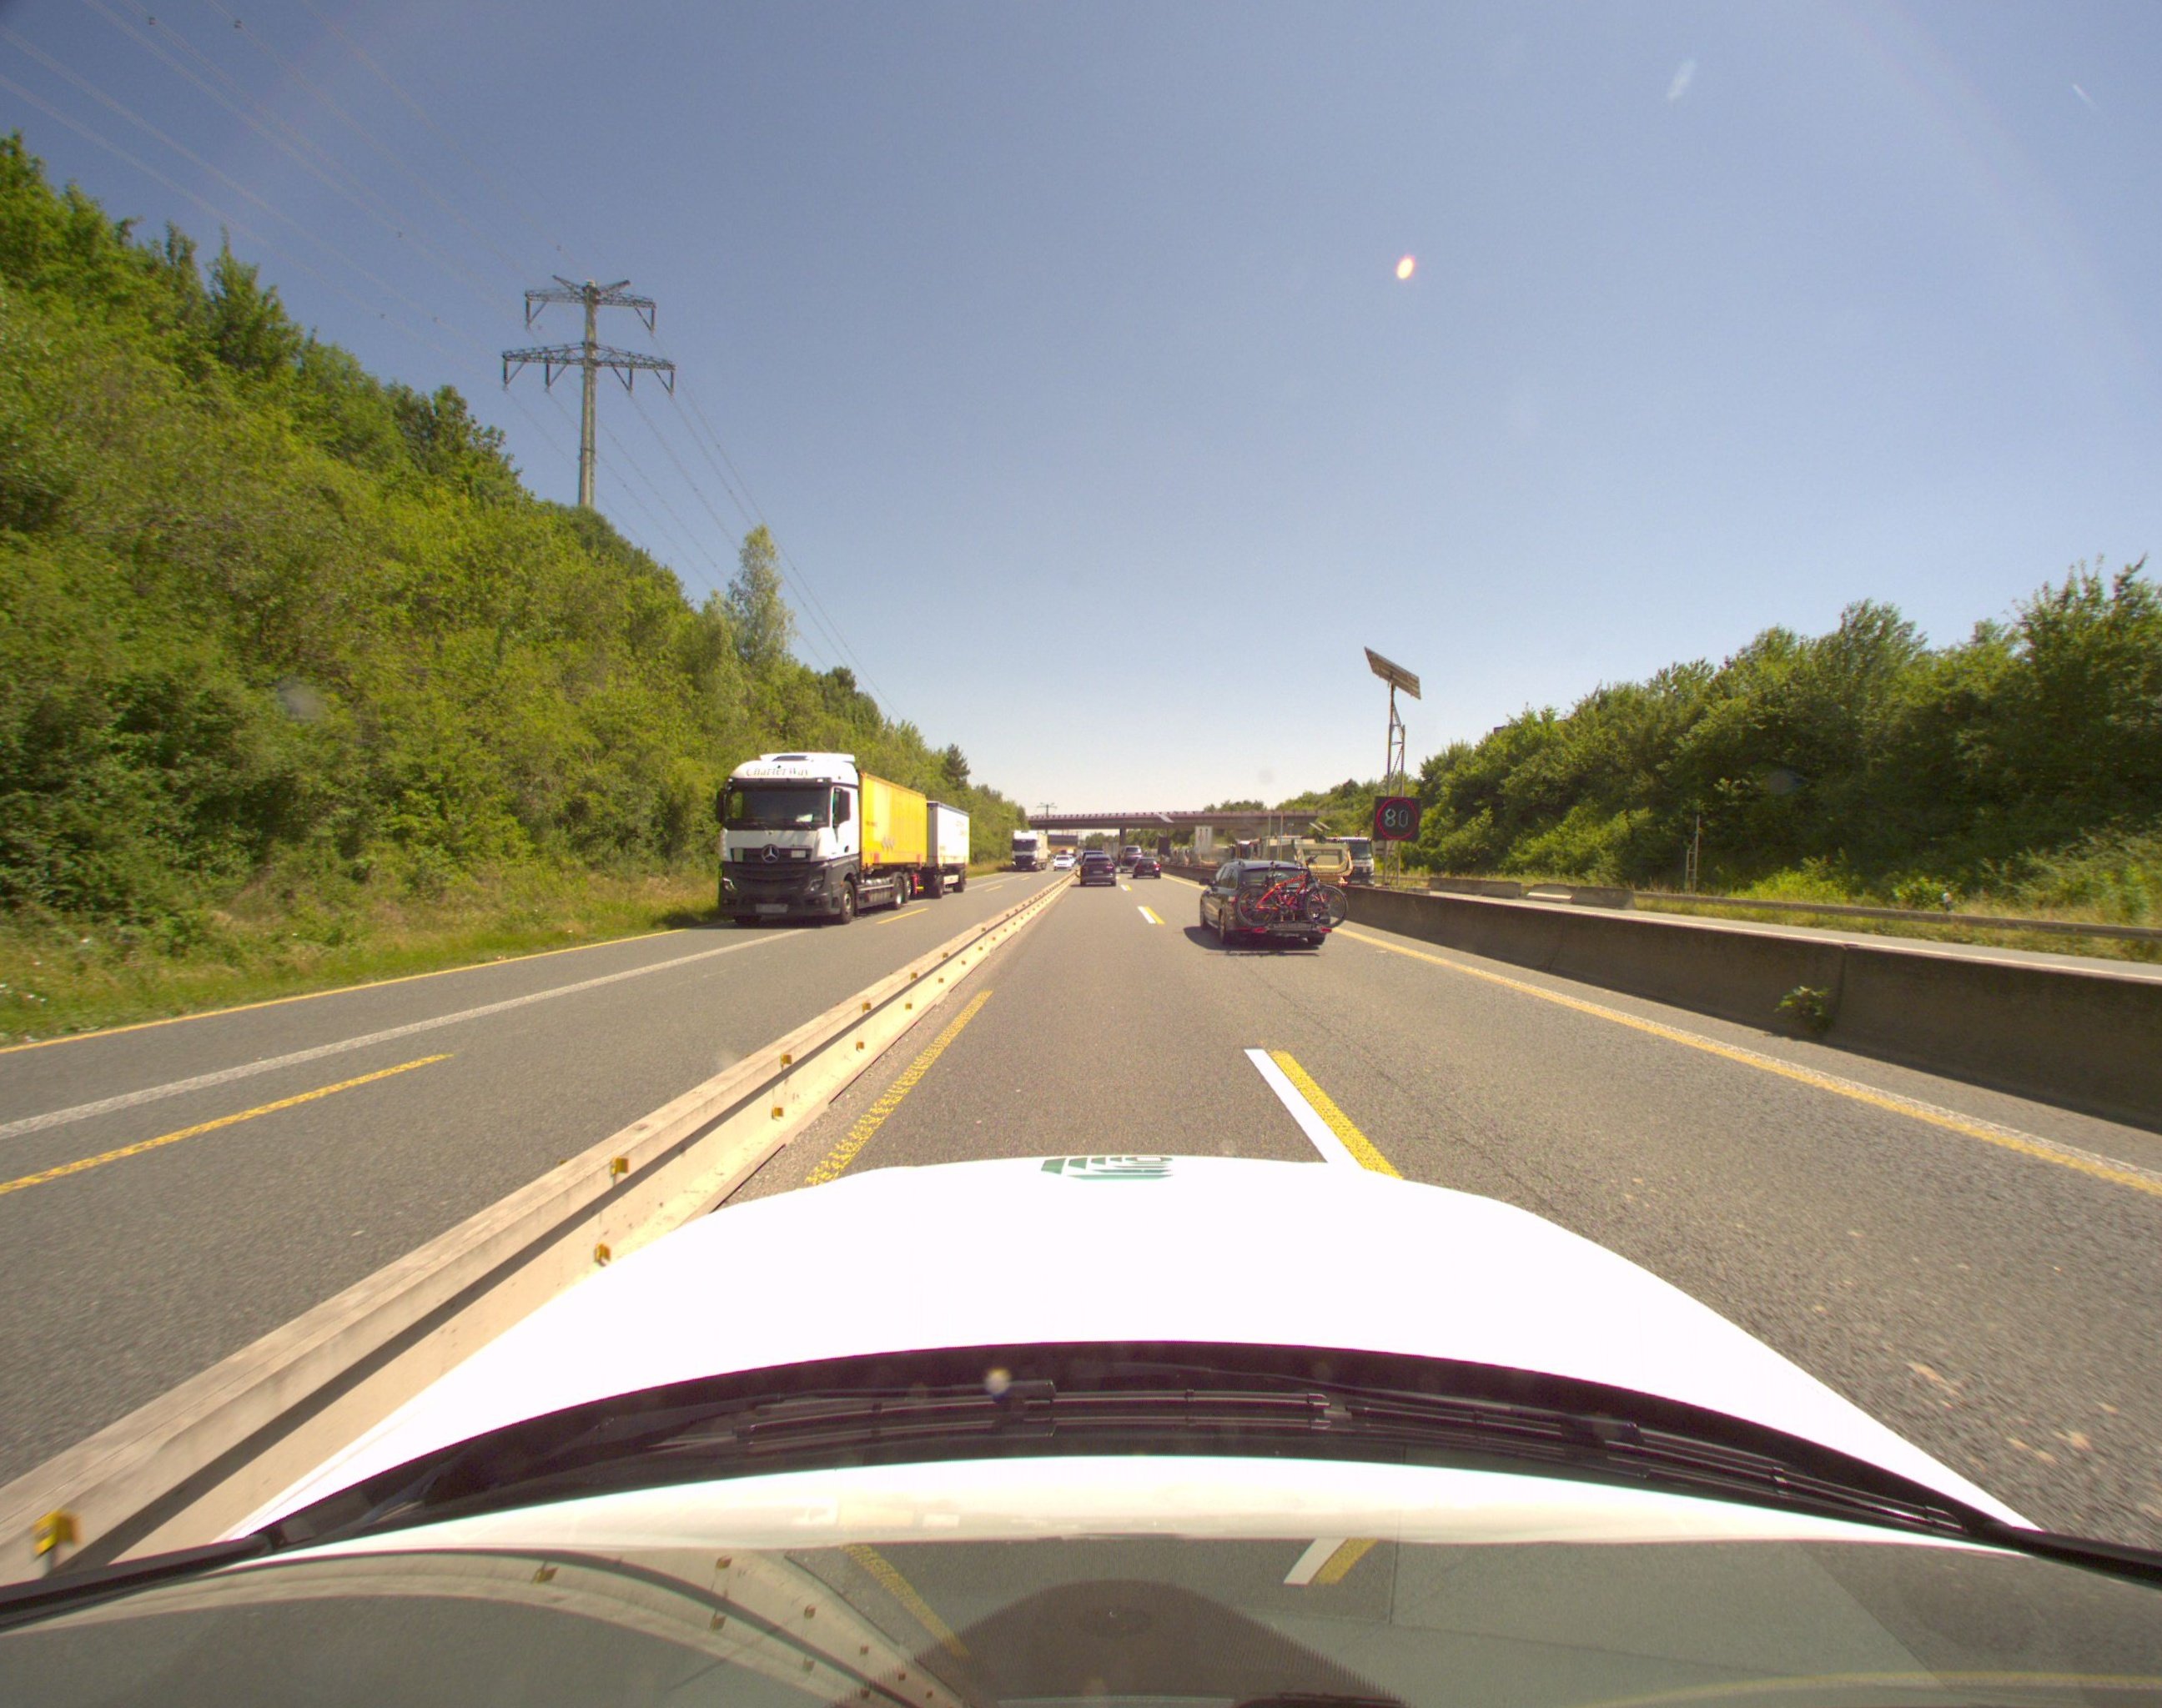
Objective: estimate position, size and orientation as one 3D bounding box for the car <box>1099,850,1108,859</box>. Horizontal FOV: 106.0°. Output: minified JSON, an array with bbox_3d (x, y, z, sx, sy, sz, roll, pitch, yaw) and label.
[{"bbox_3d":[5.025,0.069,178.704,1.892,1.968,4.277,0,0,2],"label":"car"}]

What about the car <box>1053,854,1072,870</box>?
[{"bbox_3d":[-1.915,0.859,85.005,1.818,1.631,4.151,0,-1,1],"label":"car"}]

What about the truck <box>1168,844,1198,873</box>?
[{"bbox_3d":[13.002,0.598,104.786,2.678,3.557,9.323,0,0,0],"label":"truck"}]

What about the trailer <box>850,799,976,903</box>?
[{"bbox_3d":[-6.116,-0.097,31.308,2.640,3.336,8.922,2,0,2],"label":"trailer"}]

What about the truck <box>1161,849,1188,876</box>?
[{"bbox_3d":[13.003,1.151,113.733,2.678,3.557,9.323,0,0,0],"label":"truck"}]

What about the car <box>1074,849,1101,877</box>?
[{"bbox_3d":[0.527,0.667,59.909,1.892,1.968,4.277,0,0,2],"label":"car"}]

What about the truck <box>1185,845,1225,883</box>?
[{"bbox_3d":[12.158,0.926,80.841,2.678,3.557,9.604,0,0,1],"label":"truck"}]

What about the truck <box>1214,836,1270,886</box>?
[{"bbox_3d":[12.233,0.485,62.588,2.530,3.557,9.603,0,0,1],"label":"truck"}]

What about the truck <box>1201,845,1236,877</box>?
[{"bbox_3d":[15.298,0.788,91.173,2.677,3.378,9.606,0,0,2],"label":"truck"}]

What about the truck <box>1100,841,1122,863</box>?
[{"bbox_3d":[5.206,-0.346,143.301,3.283,3.845,10.104,0,0,-1],"label":"truck"}]

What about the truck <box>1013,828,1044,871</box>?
[{"bbox_3d":[-5.162,-0.428,82.193,2.402,3.992,10.350,1,0,0],"label":"truck"}]

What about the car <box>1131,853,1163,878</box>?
[{"bbox_3d":[4.421,0.752,55.040,1.892,1.585,4.277,0,0,1],"label":"car"}]

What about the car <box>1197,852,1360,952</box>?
[{"bbox_3d":[3.308,0.748,14.674,1.892,1.490,4.949,0,-1,2],"label":"car"}]

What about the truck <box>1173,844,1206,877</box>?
[{"bbox_3d":[12.343,0.738,93.070,2.678,3.557,9.407,0,0,1],"label":"truck"}]

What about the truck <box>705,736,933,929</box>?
[{"bbox_3d":[-6.413,-0.447,22.000,2.639,3.992,9.654,2,0,2],"label":"truck"}]

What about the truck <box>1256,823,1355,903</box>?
[{"bbox_3d":[10.804,0.394,40.275,2.524,3.511,9.097,0,0,1],"label":"truck"}]

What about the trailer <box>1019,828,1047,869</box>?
[{"bbox_3d":[-5.302,-0.594,91.569,2.629,4.312,8.445,1,0,0],"label":"trailer"}]

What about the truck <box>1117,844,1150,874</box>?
[{"bbox_3d":[4.633,0.426,73.138,2.398,2.558,7.498,0,0,0],"label":"truck"}]

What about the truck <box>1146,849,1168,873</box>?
[{"bbox_3d":[12.299,1.067,132.334,2.678,3.761,9.324,0,0,0],"label":"truck"}]

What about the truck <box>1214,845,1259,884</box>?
[{"bbox_3d":[14.977,0.958,79.008,2.678,3.557,9.603,0,0,1],"label":"truck"}]

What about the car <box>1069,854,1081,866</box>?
[{"bbox_3d":[-0.874,0.882,118.302,1.757,1.632,4.297,0,-1,0],"label":"car"}]

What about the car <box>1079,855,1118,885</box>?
[{"bbox_3d":[0.937,0.806,42.213,1.892,1.505,4.277,0,0,2],"label":"car"}]

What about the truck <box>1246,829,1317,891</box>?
[{"bbox_3d":[12.356,0.351,50.904,2.523,3.511,8.947,0,0,2],"label":"truck"}]

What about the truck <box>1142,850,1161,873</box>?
[{"bbox_3d":[12.395,1.304,143.837,2.678,3.856,9.324,0,0,0],"label":"truck"}]

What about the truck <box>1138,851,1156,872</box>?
[{"bbox_3d":[12.578,1.368,156.330,2.678,3.843,9.324,0,0,0],"label":"truck"}]

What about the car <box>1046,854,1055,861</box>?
[{"bbox_3d":[-7.038,0.776,187.137,1.787,1.525,4.532,0,0,1],"label":"car"}]

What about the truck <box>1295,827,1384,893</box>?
[{"bbox_3d":[14.974,0.333,47.866,2.678,3.511,8.381,0,0,1],"label":"truck"}]
